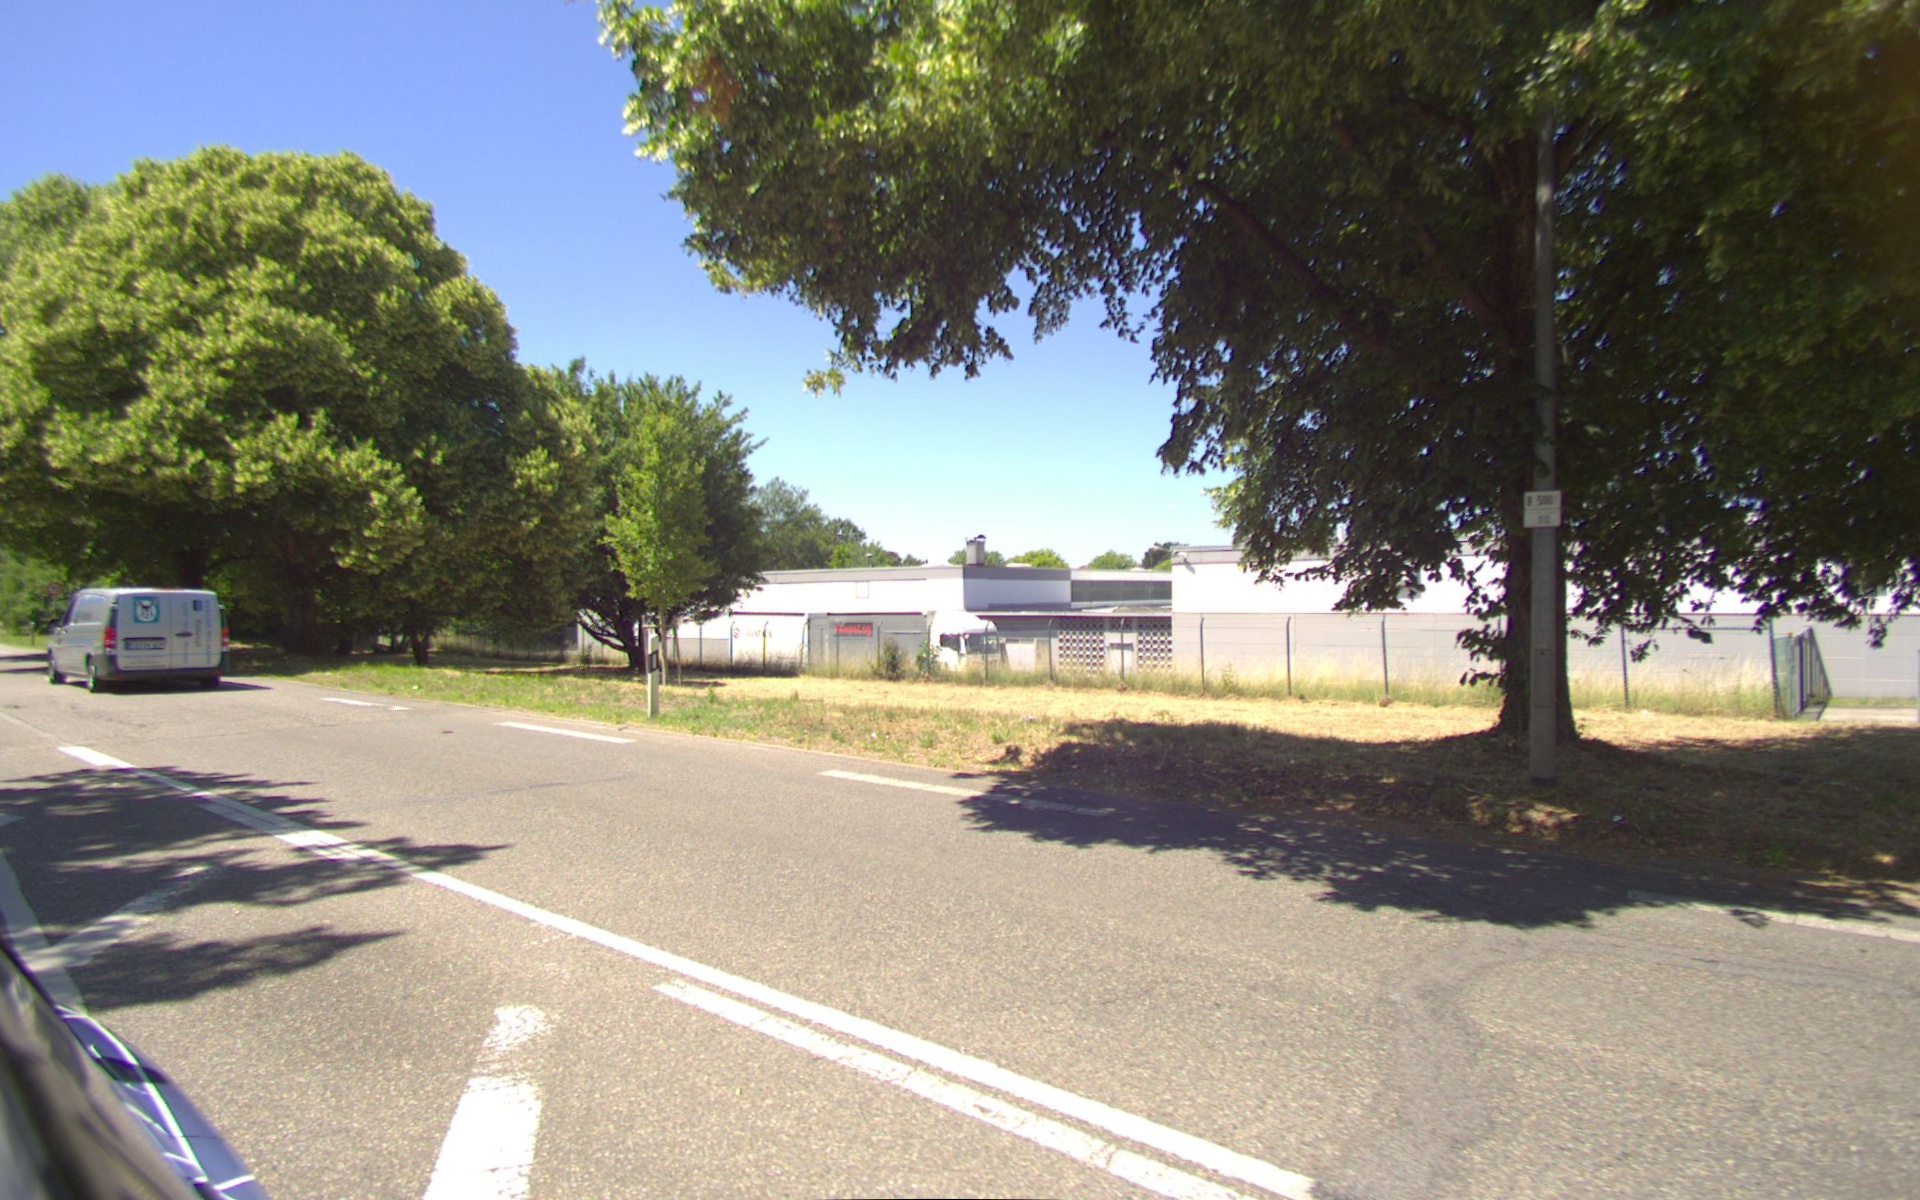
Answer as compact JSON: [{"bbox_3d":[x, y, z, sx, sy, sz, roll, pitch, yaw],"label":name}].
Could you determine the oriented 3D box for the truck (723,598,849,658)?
[{"bbox_3d":[-9.448,1.388,54.240,8.168,2.950,2.406,0,1,45],"label":"truck"}]

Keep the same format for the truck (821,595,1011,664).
[{"bbox_3d":[-2.295,1.245,47.030,10.163,2.818,2.655,0,1,45],"label":"truck"}]

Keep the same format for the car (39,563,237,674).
[{"bbox_3d":[-15.684,0.296,19.196,5.293,1.848,1.859,0,0,39],"label":"car"}]
